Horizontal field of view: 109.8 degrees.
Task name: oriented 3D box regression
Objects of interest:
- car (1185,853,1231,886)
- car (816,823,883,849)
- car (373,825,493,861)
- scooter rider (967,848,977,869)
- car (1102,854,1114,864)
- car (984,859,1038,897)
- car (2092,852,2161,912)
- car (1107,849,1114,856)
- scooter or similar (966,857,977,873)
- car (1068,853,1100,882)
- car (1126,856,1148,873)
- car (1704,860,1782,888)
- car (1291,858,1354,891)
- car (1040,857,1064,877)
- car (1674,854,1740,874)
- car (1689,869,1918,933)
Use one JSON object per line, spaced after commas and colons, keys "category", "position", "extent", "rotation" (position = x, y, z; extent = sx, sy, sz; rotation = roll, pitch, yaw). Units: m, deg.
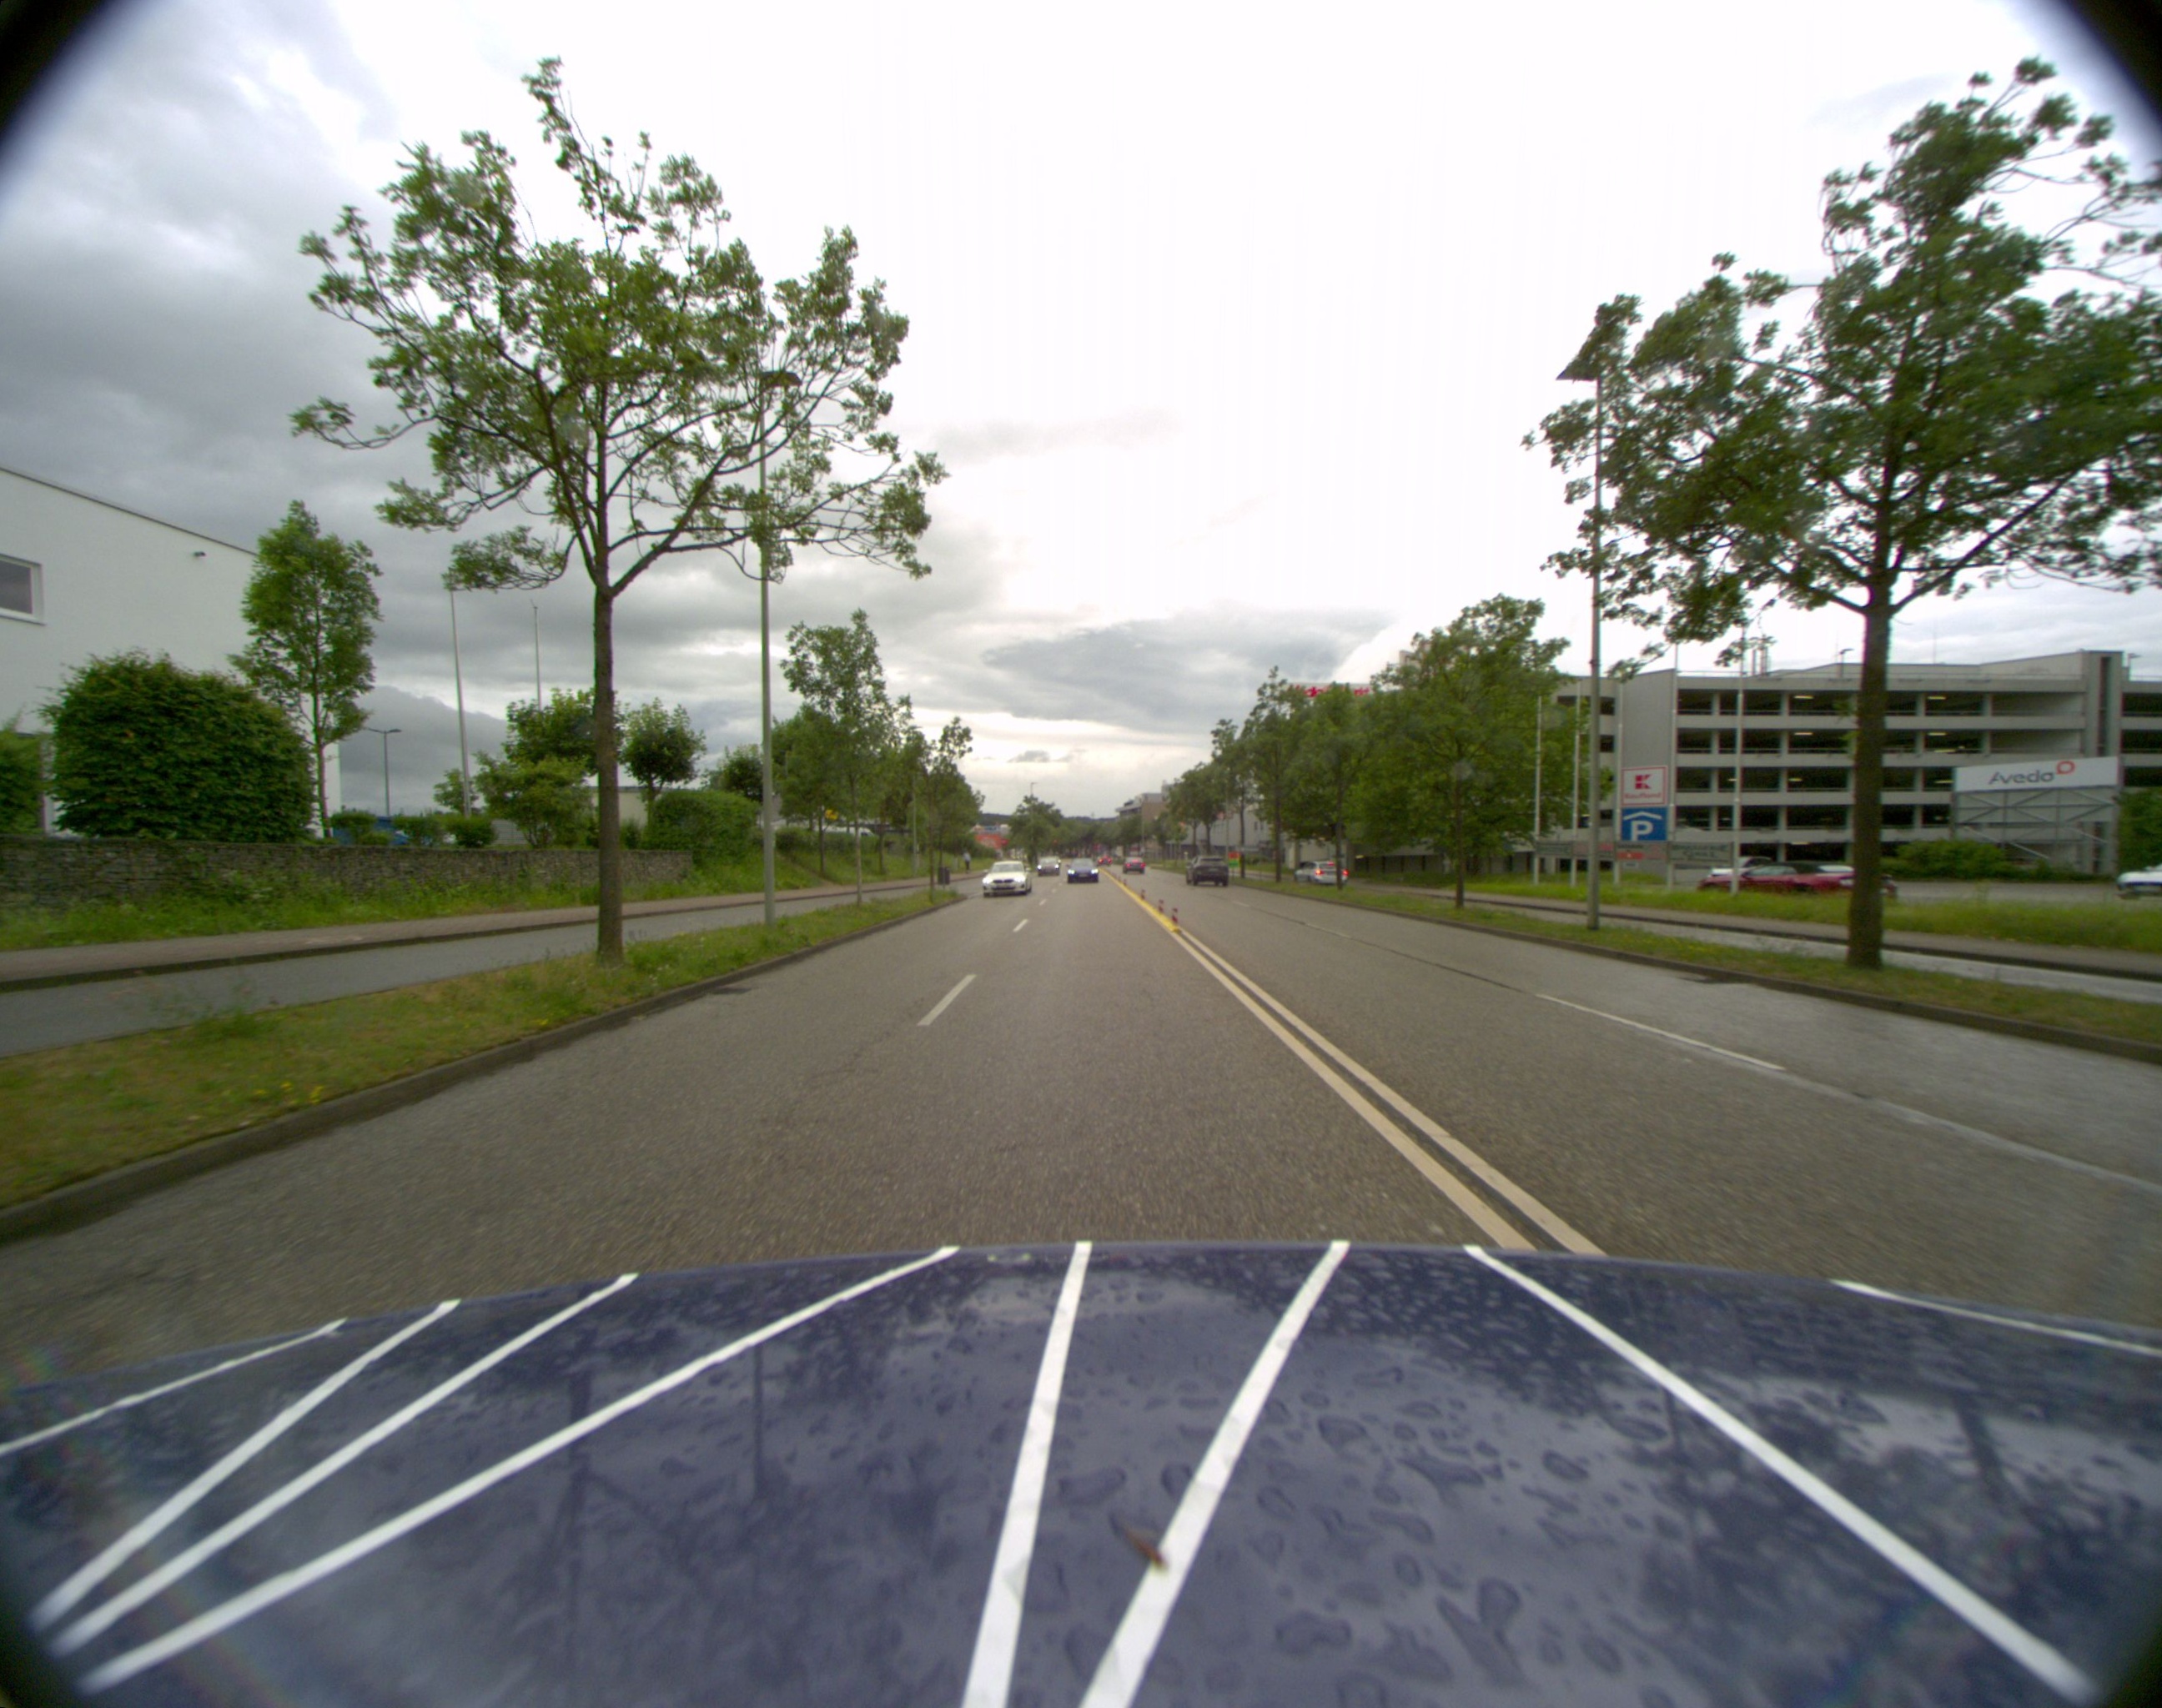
{"category": "car", "position": [6.905, 0.813, 41.699], "extent": [1.792, 1.605, 4.436], "rotation": [1, 1, 1]}
{"category": "car", "position": [-21.701, -1.694, 71.425], "extent": [5.625, 2.130, 2.120], "rotation": [2, 1, -7]}
{"category": "car", "position": [-30.358, -0.502, 35.670], "extent": [3.998, 1.653, 1.798], "rotation": [0, 1, -3]}
{"category": "scooter rider", "position": [-9.380, 0.389, 65.183], "extent": [0.696, 1.810, 0.858], "rotation": [1, 1, 0]}
{"category": "car", "position": [4.016, 0.685, 113.729], "extent": [1.831, 1.457, 4.616], "rotation": [0, 0, 2]}
{"category": "car", "position": [-2.996, 0.998, 33.418], "extent": [1.808, 1.432, 4.542], "rotation": [-3, 0, 1]}
{"category": "car", "position": [34.194, 0.799, 23.319], "extent": [4.615, 1.735, 1.965], "rotation": [-2, -1, -11]}
{"category": "car", "position": [10.103, -0.481, 264.024], "extent": [1.999, 2.002, 4.884], "rotation": [-4, 1, -1]}
{"category": "scooter or similar", "position": [-9.387, 0.944, 65.228], "extent": [0.696, 1.256, 1.400], "rotation": [1, 1, 0]}
{"category": "car", "position": [0.175, 0.773, 46.411], "extent": [1.799, 1.572, 4.218], "rotation": [-3, 0, 0]}
{"category": "car", "position": [4.919, 0.880, 67.626], "extent": [1.671, 1.402, 4.378], "rotation": [1, 0, 1]}
{"category": "car", "position": [32.949, 0.991, 37.861], "extent": [2.705, 1.357, 1.609], "rotation": [1, -1, -10]}
{"category": "car", "position": [12.687, 1.051, 40.233], "extent": [1.872, 1.544, 4.575], "rotation": [1, 0, 0]}
{"category": "car", "position": [-2.459, 1.090, 65.083], "extent": [1.799, 1.572, 4.218], "rotation": [-3, 0, 0]}
{"category": "car", "position": [49.312, 0.770, 59.916], "extent": [1.756, 1.454, 3.834], "rotation": [-4, 1, -44]}
{"category": "car", "position": [20.784, 1.285, 22.206], "extent": [1.938, 1.599, 4.710], "rotation": [-2, -1, -5]}
